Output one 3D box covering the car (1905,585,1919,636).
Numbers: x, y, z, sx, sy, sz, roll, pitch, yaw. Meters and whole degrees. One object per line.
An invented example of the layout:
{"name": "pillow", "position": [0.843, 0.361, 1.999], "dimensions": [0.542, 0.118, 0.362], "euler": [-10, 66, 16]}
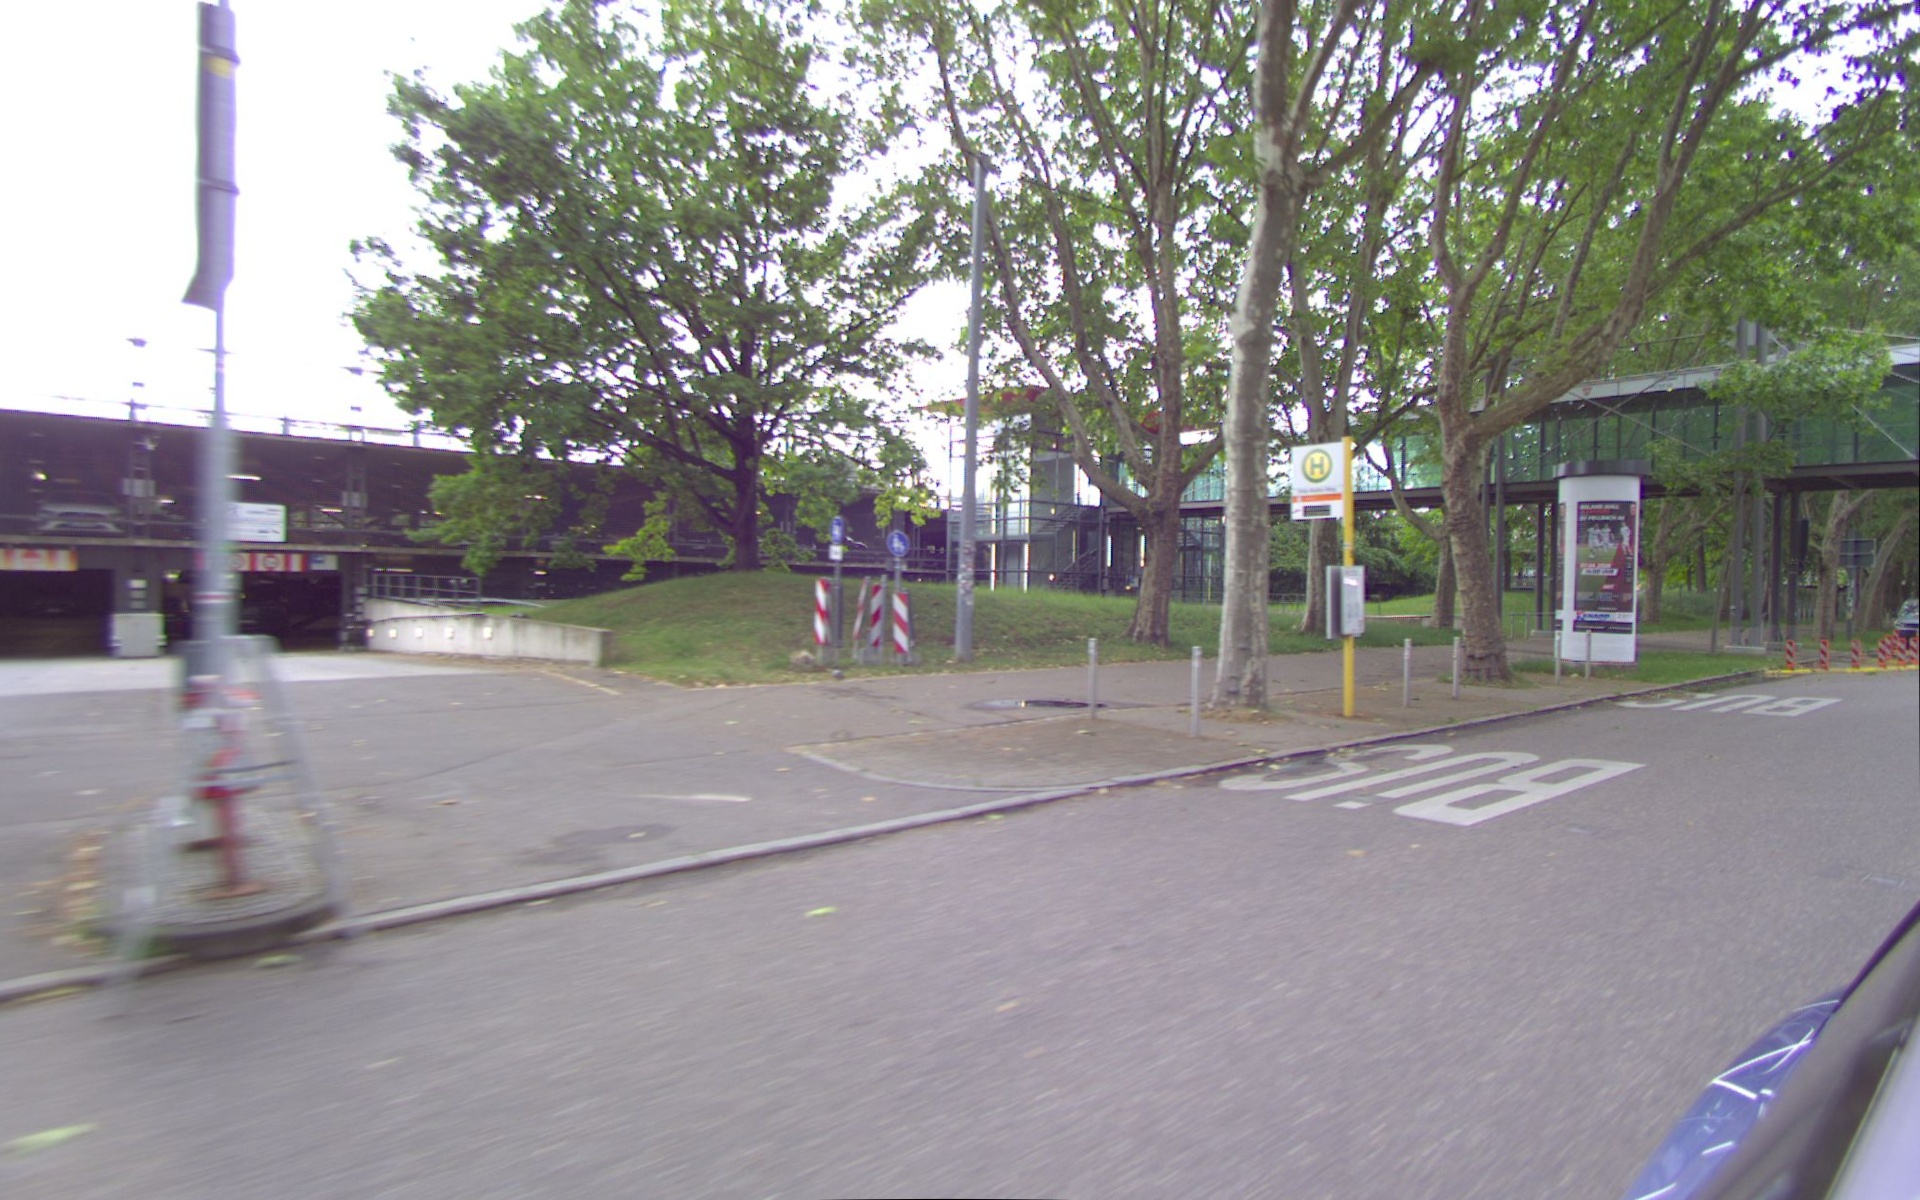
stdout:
{"name": "car", "position": [34.717, 0.359, 35.630], "dimensions": [4.421, 1.718, 1.755], "euler": [0, 2, -42]}
